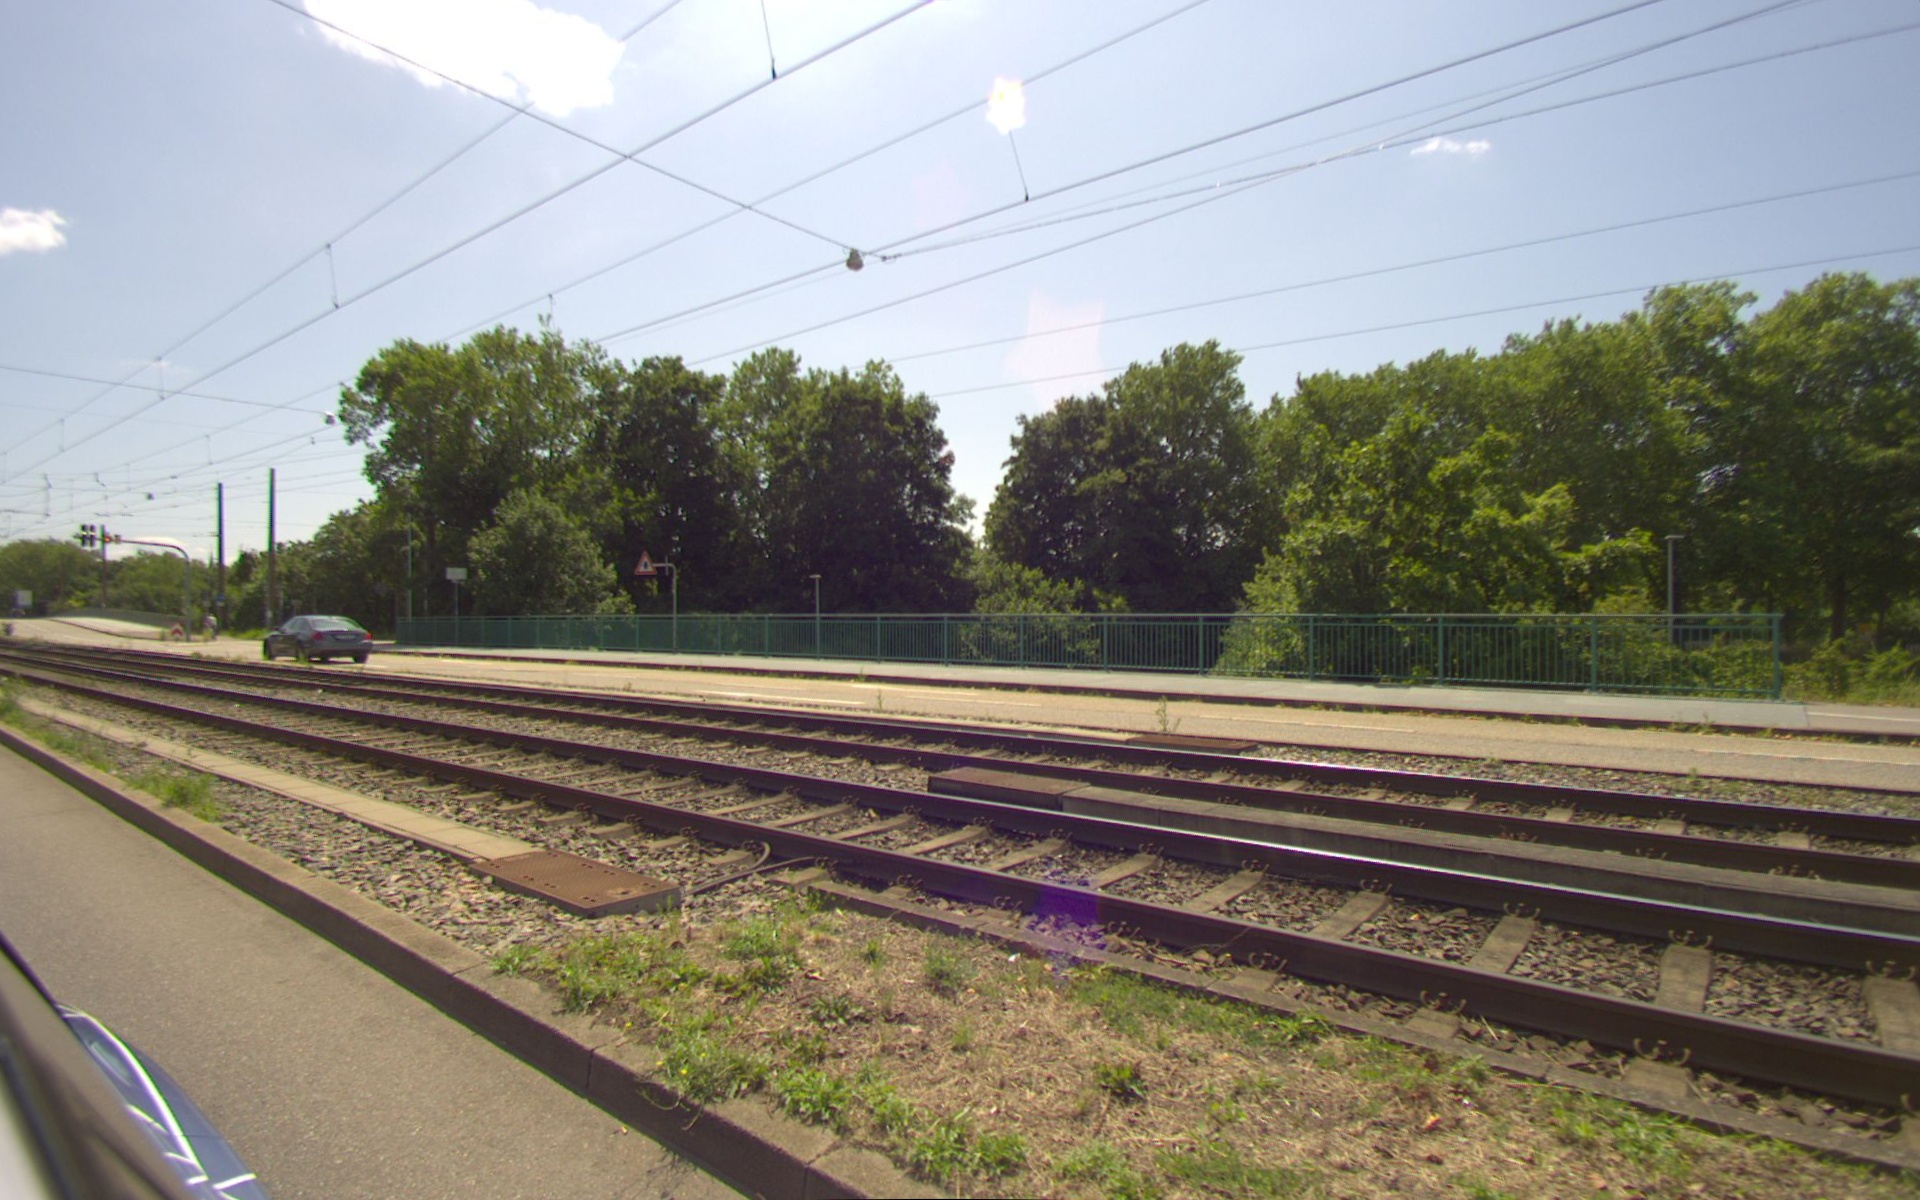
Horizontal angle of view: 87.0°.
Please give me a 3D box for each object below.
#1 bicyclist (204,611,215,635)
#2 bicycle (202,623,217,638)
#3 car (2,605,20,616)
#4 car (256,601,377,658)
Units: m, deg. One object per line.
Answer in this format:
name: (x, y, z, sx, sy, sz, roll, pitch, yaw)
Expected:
bicyclist: (-47.269, 1.448, 63.768, 0.633, 1.485, 0.451, -1, 0, 43)
bicycle: (-47.311, 1.928, 63.818, 1.743, 0.874, 0.463, 1, 1, 43)
car: (-132.318, 1.516, 141.121, 3.735, 1.521, 1.685, -1, -1, 45)
car: (-21.135, 0.927, 33.155, 5.326, 1.733, 1.856, -1, 0, 40)
